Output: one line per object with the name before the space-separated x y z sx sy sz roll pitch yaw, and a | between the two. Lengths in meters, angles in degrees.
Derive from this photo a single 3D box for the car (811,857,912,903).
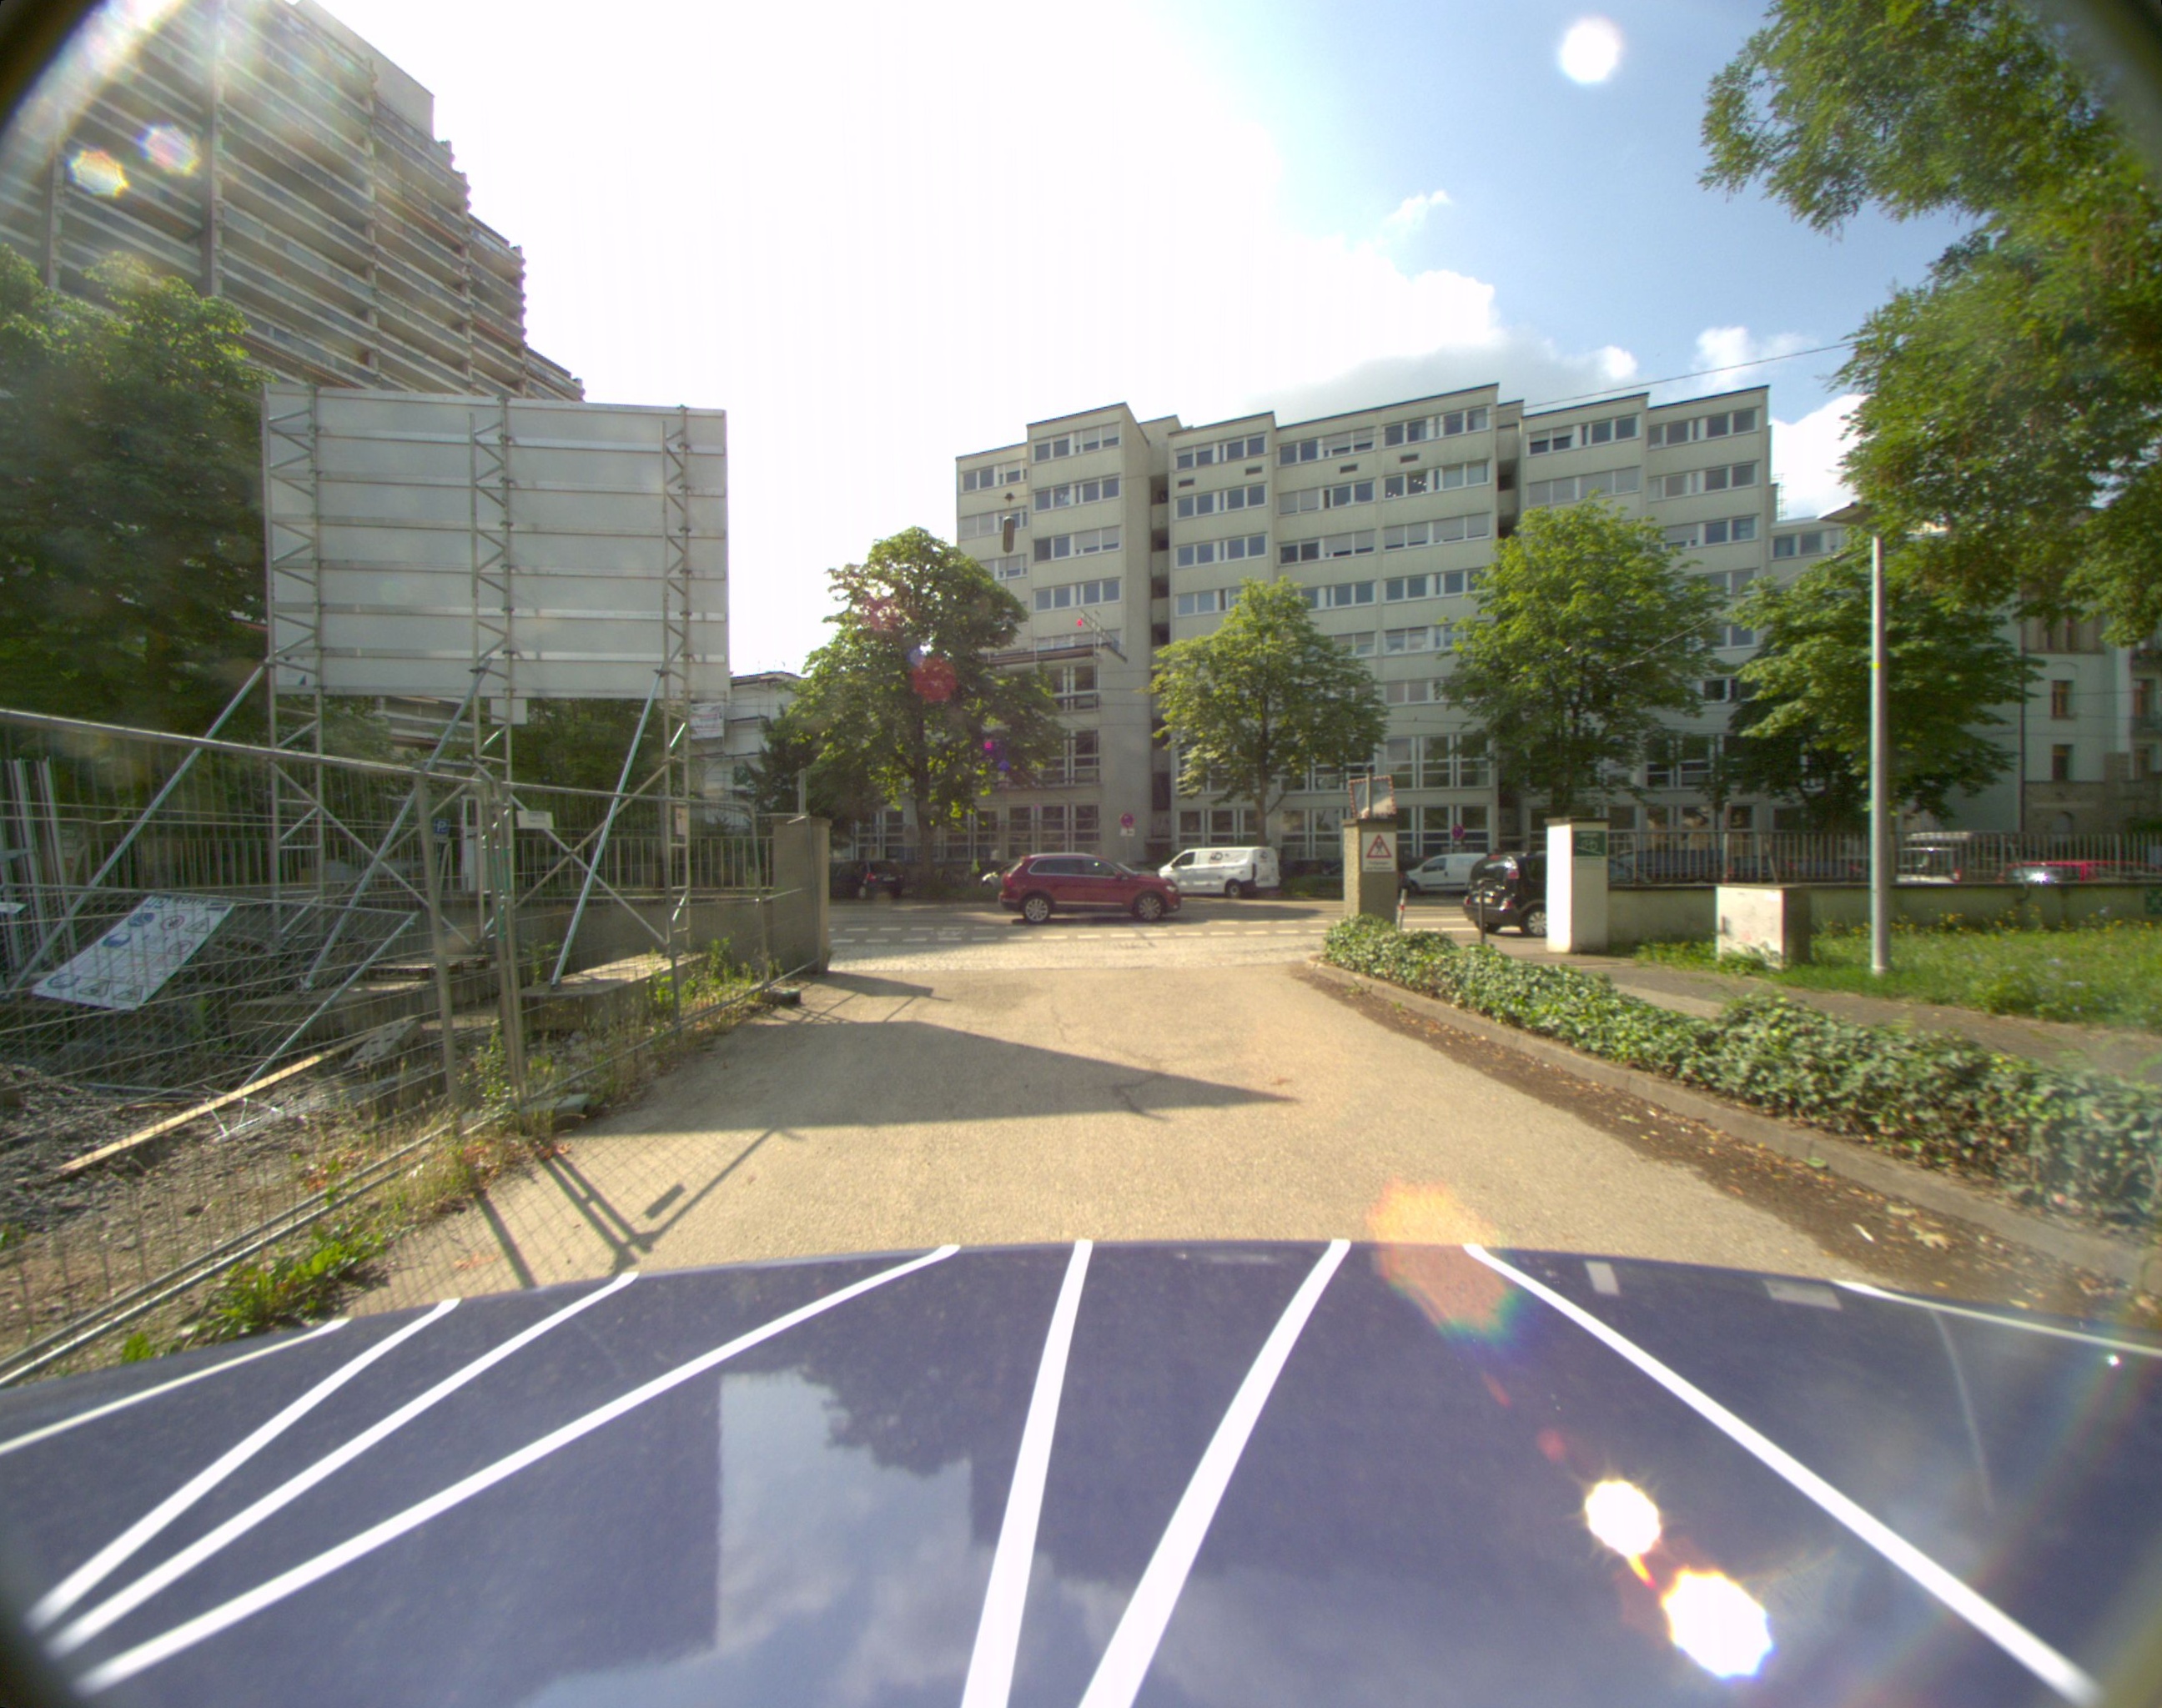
car | -8.475 1.030 29.220 3.990 1.454 1.762 -4 3 43

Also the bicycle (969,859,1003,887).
bicycle | -4.553 0.904 36.449 0.496 1.081 2.058 -5 3 25

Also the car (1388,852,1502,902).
car | 14.806 0.941 31.010 3.749 1.703 1.886 -4 3 40

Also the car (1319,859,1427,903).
car | 11.829 1.099 30.846 3.627 1.492 1.765 -4 2 37

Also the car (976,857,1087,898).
car | -2.023 0.952 30.088 4.225 1.455 1.787 -4 -2 38

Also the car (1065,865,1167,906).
car | 1.334 1.241 30.156 3.773 1.467 1.729 -3 -1 42

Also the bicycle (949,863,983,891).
bicycle | -5.503 1.095 36.499 0.496 1.081 2.058 -5 3 25

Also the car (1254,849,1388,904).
car | 9.199 0.845 29.396 4.560 1.986 1.908 -1 -1 44

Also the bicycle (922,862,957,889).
bicycle | -6.892 1.019 37.169 0.496 1.081 2.058 -5 3 25

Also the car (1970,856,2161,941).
car | 21.397 0.889 15.998 3.583 1.602 1.679 -1 -1 -5

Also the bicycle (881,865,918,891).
bicycle | -9.019 1.188 37.784 0.496 1.081 2.058 -5 3 25

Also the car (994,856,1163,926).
car | -0.132 0.864 18.596 3.970 1.602 1.678 0 1 -6

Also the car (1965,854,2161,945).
car | 21.289 0.902 16.087 3.278 1.477 1.672 -6 0 -5

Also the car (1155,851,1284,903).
car | 5.337 0.889 29.714 4.629 1.900 1.937 -1 -2 44

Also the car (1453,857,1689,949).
car | 9.522 0.921 14.933 3.583 1.602 1.679 -1 -1 -5

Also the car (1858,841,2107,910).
car | 25.058 0.604 21.227 4.835 1.763 1.947 -1 -2 -4
